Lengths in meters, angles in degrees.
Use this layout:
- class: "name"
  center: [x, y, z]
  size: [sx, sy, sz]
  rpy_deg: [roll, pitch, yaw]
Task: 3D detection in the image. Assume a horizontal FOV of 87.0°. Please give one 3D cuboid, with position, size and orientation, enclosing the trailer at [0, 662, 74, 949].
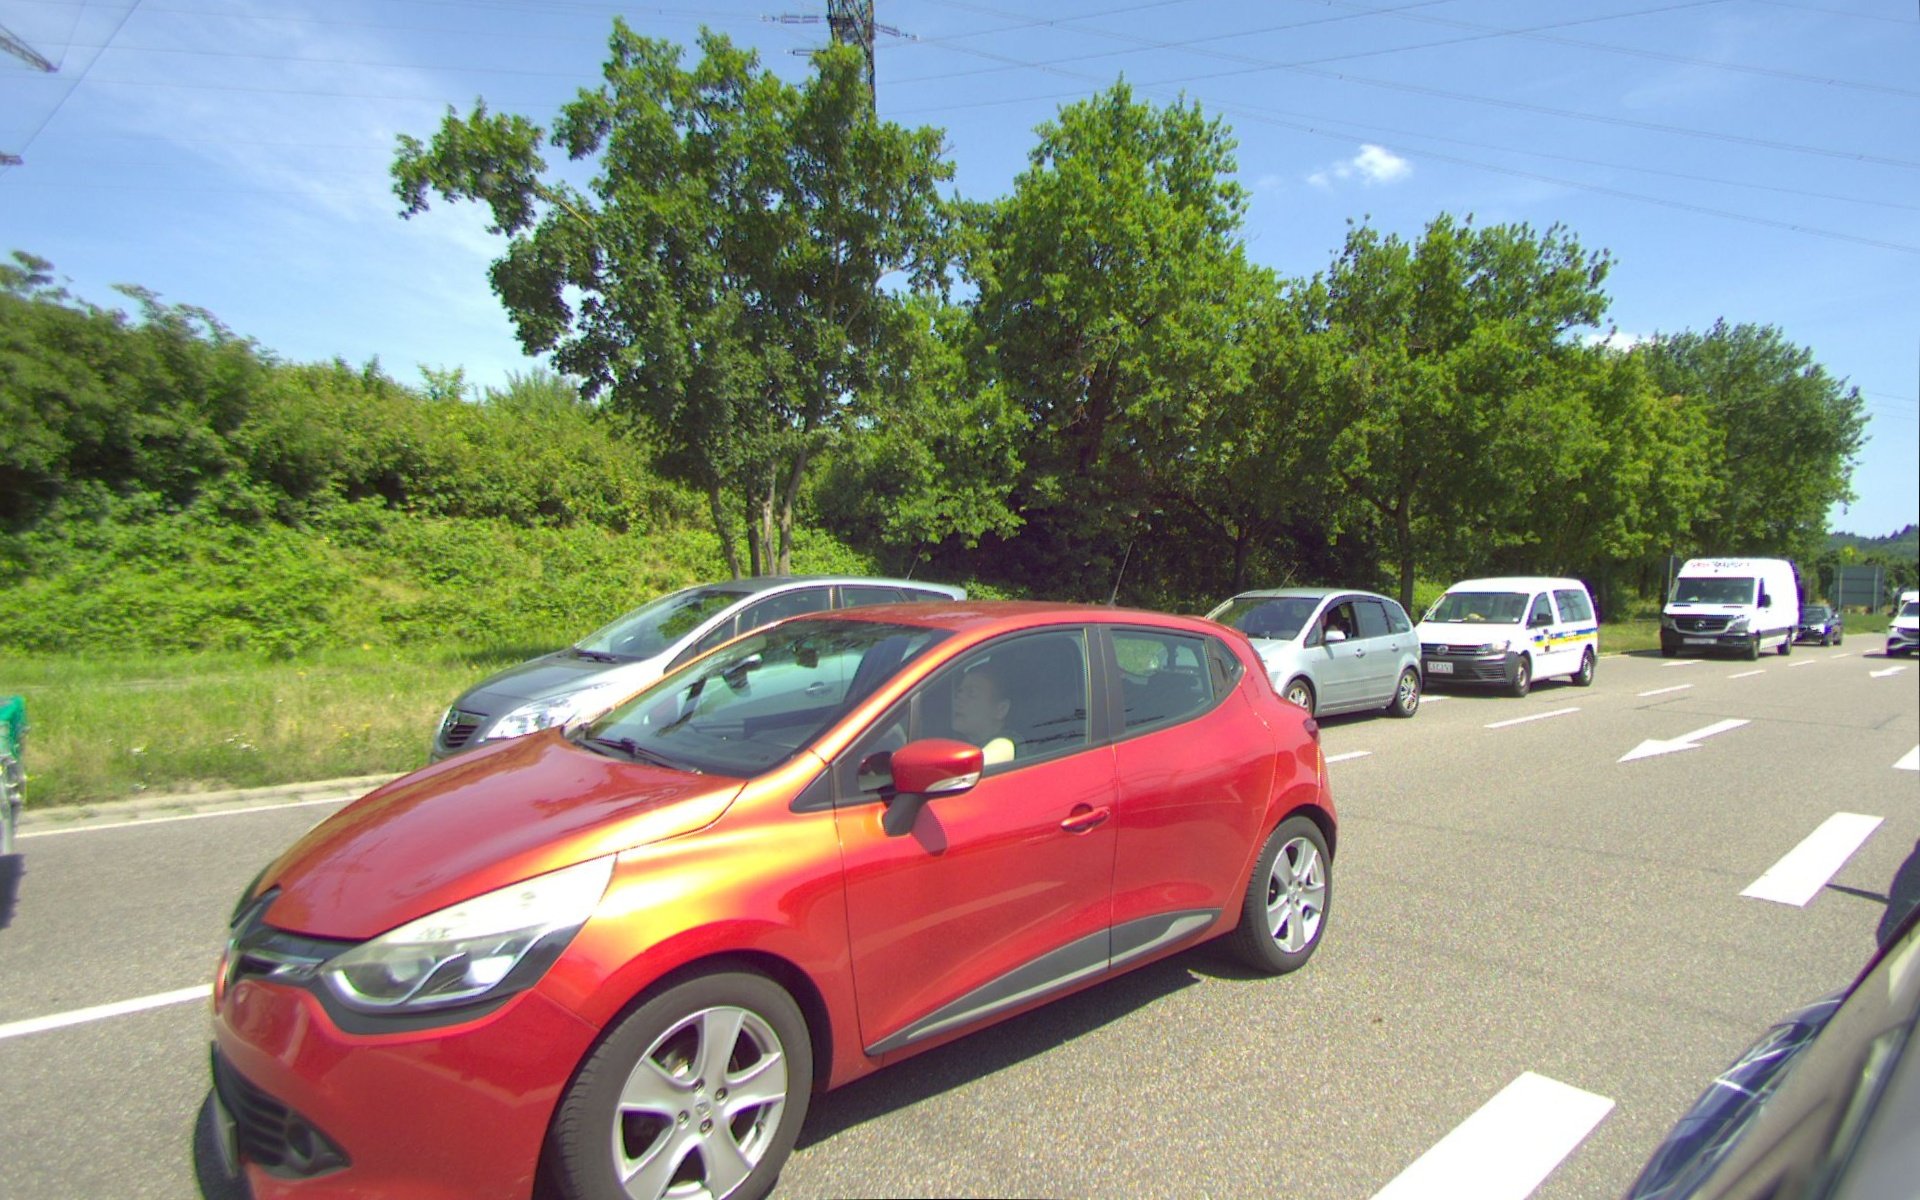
- class: "trailer"
  center: [-5.406, 0.849, 3.674]
  size: [3.266, 1.019, 1.709]
  rpy_deg: [0, 0, -41]

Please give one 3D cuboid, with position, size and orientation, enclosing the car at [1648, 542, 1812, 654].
- class: "car"
  center: [20.716, -0.056, 27.073]
  size: [6.897, 2.640, 2.230]
  rpy_deg: [0, 0, -42]

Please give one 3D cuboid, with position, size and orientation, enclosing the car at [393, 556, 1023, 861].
- class: "car"
  center: [-1.626, 0.554, 7.363]
  size: [4.092, 1.615, 1.768]
  rpy_deg: [0, 1, -41]

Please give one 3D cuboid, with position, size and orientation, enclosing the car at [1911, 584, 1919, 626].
- class: "car"
  center: [58.505, 0.272, 60.151]
  size: [5.712, 2.453, 2.306]
  rpy_deg: [0, 0, -41]

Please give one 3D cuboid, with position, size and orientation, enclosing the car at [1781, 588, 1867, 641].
- class: "car"
  center: [30.087, 0.454, 35.223]
  size: [3.933, 1.705, 1.875]
  rpy_deg: [-1, 1, -43]

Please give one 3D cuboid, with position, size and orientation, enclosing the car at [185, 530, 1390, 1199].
- class: "car"
  center: [-0.231, 0.620, 3.663]
  size: [3.994, 1.480, 1.746]
  rpy_deg: [0, 0, -41]

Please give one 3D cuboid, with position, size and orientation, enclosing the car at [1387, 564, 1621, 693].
- class: "car"
  center: [9.026, 0.399, 16.592]
  size: [4.950, 1.823, 1.807]
  rpy_deg: [0, 0, -42]

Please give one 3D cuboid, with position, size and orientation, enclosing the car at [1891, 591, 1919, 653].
- class: "car"
  center: [26.401, 0.564, 27.008]
  size: [4.287, 1.588, 1.849]
  rpy_deg: [0, 0, -41]

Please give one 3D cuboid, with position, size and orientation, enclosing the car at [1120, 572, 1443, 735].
- class: "car"
  center: [3.937, 0.526, 12.041]
  size: [4.197, 1.614, 1.746]
  rpy_deg: [0, 0, -41]
